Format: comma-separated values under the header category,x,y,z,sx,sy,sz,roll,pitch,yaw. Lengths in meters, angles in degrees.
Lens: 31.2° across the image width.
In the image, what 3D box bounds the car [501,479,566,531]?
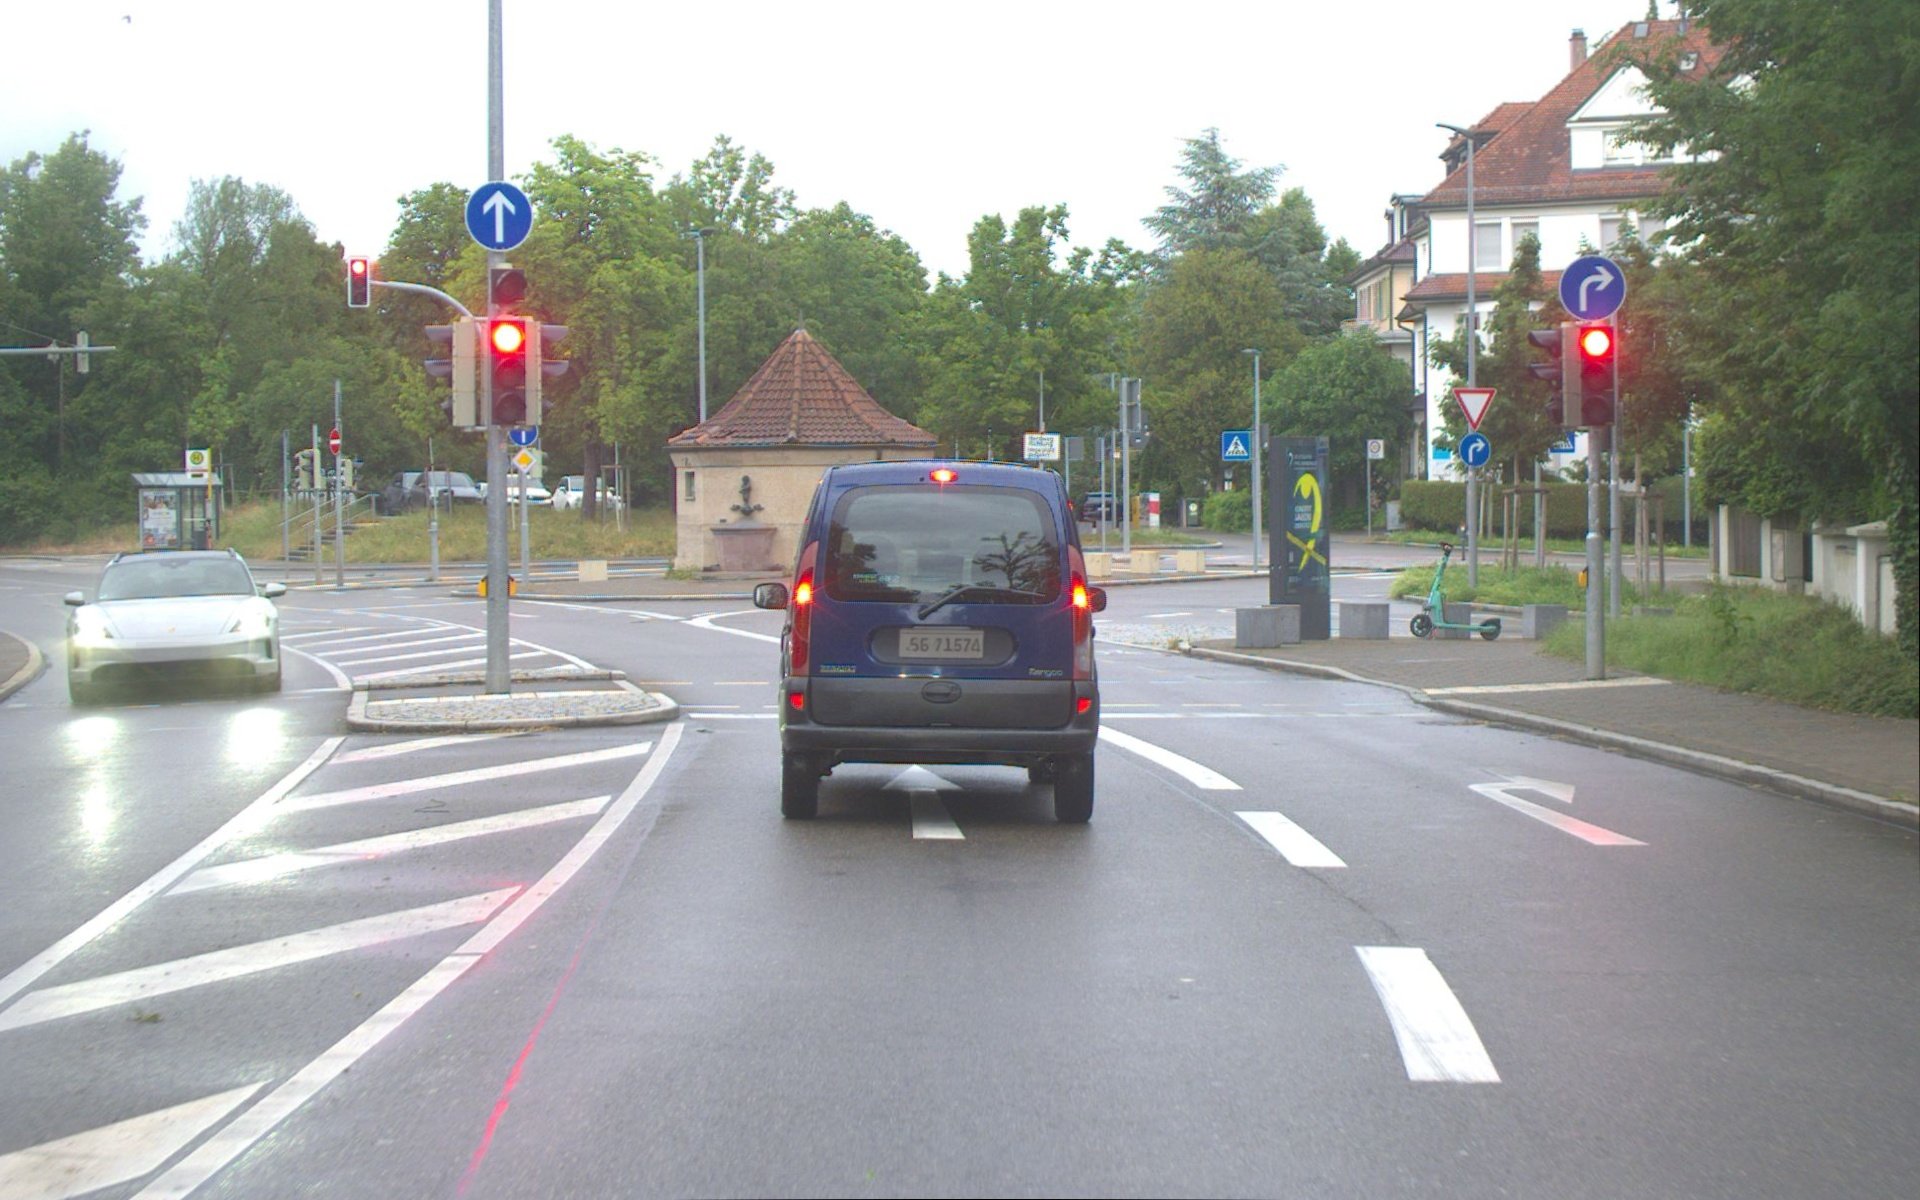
category,x,y,z,sx,sy,sz,roll,pitch,yaw
car,-15.544,-3.467,125.386,1.993,1.806,4.000,0,0,-2

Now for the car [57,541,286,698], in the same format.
category,x,y,z,sx,sy,sz,roll,pitch,yaw
car,-7.701,0.139,33.870,1.993,1.307,4.361,-3,2,-11

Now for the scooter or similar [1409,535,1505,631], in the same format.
category,x,y,z,sx,sy,sz,roll,pitch,yaw
scooter or similar,6.280,-0.215,43.486,1.149,1.214,0.406,0,0,-1

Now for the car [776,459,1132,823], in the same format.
category,x,y,z,sx,sy,sz,roll,pitch,yaw
car,-0.136,0.150,18.893,1.731,1.780,4.001,0,1,-3
